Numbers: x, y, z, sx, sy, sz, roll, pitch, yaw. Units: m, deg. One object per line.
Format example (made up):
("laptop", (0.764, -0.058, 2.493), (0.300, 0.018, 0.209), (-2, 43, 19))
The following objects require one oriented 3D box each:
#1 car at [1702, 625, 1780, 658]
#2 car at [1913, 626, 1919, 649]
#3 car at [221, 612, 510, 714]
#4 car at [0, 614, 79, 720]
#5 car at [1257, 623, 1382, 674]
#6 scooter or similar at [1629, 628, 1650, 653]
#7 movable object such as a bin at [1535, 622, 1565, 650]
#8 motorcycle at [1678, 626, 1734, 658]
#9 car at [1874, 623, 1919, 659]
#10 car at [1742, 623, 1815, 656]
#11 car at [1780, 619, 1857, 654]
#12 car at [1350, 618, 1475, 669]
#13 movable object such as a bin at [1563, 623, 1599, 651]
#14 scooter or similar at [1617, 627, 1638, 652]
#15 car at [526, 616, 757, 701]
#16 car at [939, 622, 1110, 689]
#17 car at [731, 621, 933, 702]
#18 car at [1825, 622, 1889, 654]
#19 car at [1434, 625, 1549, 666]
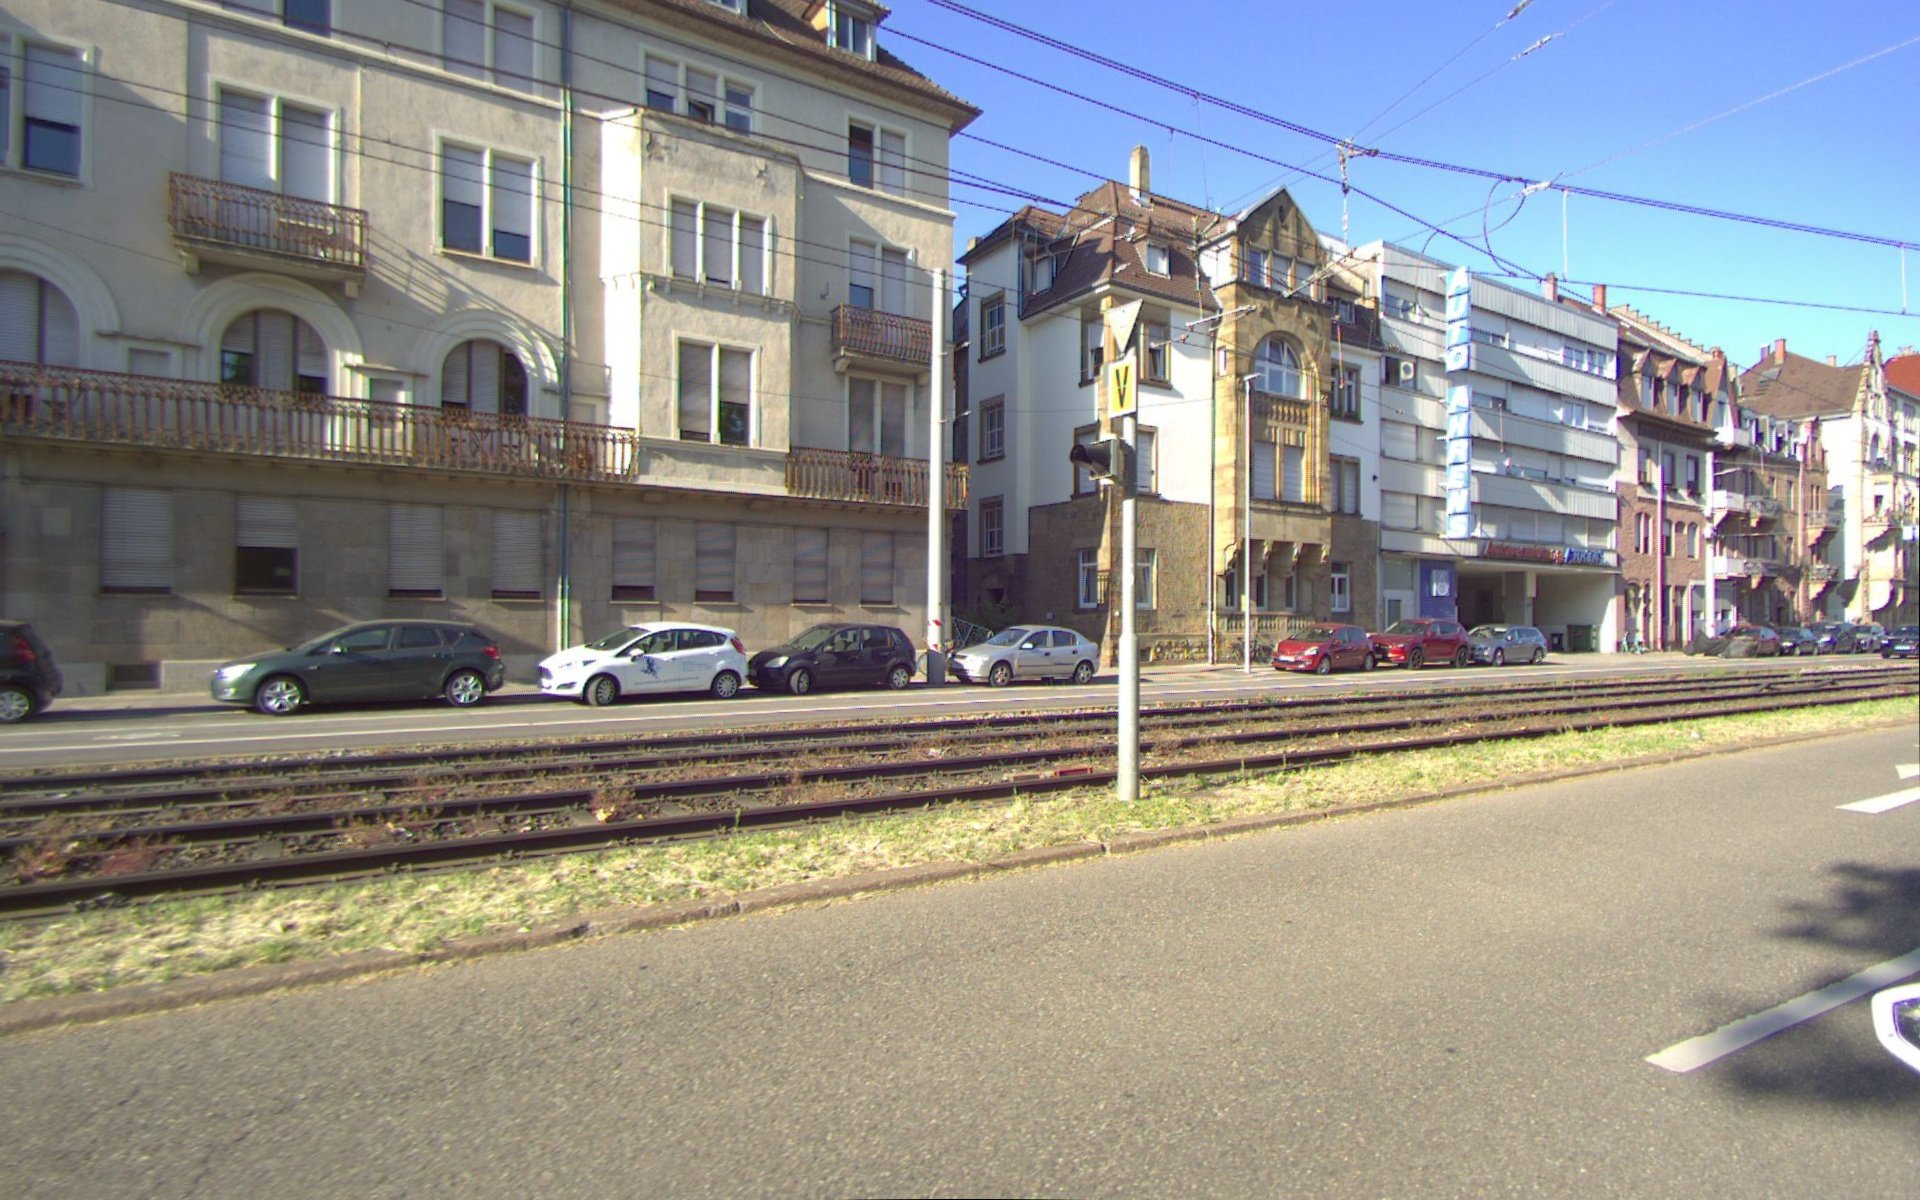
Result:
("car", (38.570, 2.021, 49.608), (4.222, 1.479, 1.783), (1, 2, -34))
("car", (66.213, 2.603, 68.000), (3.964, 1.530, 1.780), (1, 2, -38))
("car", (-10.149, 1.015, 17.352), (4.115, 1.488, 1.625), (1, 2, -34))
("car", (-15.020, 0.952, 14.347), (3.473, 1.410, 1.617), (1, 2, -34))
("car", (11.334, 1.490, 31.567), (3.999, 1.410, 1.819), (1, 2, -38))
("scooter or similar", (33.621, 2.002, 49.700), (1.187, 1.222, 0.389), (1, 1, -32))
("movable object such as a bin", (30.369, 1.829, 51.740), (0.630, 1.389, 1.183), (1, 0, -39))
("motorcycle", (35.680, 1.996, 48.037), (2.044, 1.345, 0.836), (3, 2, 42))
("car", (44.579, 1.892, 47.124), (4.117, 1.622, 1.625), (1, -2, -35))
("car", (42.464, 2.033, 52.084), (3.957, 1.530, 1.783), (1, 2, -33))
("car", (46.958, 1.983, 54.930), (4.403, 1.777, 1.785), (1, 2, -30))
("car", (15.504, 1.477, 34.338), (4.305, 1.579, 1.823), (2, 0, -32))
("movable object such as a bin", (31.266, 1.858, 50.591), (0.630, 1.389, 1.400), (1, 0, -39))
("scooter or similar", (33.384, 1.988, 50.216), (1.187, 1.222, 0.389), (1, 1, -32))
("car", (-6.087, 1.101, 19.456), (3.952, 1.488, 1.621), (2, -3, -41))
("car", (1.645, 1.325, 25.081), (4.114, 1.488, 1.626), (1, 0, -33))
("car", (-2.767, 1.281, 22.138), (4.121, 1.489, 1.622), (1, 4, -38))
("car", (52.044, 2.205, 58.269), (4.154, 1.674, 1.676), (1, 2, -33))
("car", (19.799, 1.649, 37.337), (4.633, 1.409, 1.822), (1, -1, -34))
